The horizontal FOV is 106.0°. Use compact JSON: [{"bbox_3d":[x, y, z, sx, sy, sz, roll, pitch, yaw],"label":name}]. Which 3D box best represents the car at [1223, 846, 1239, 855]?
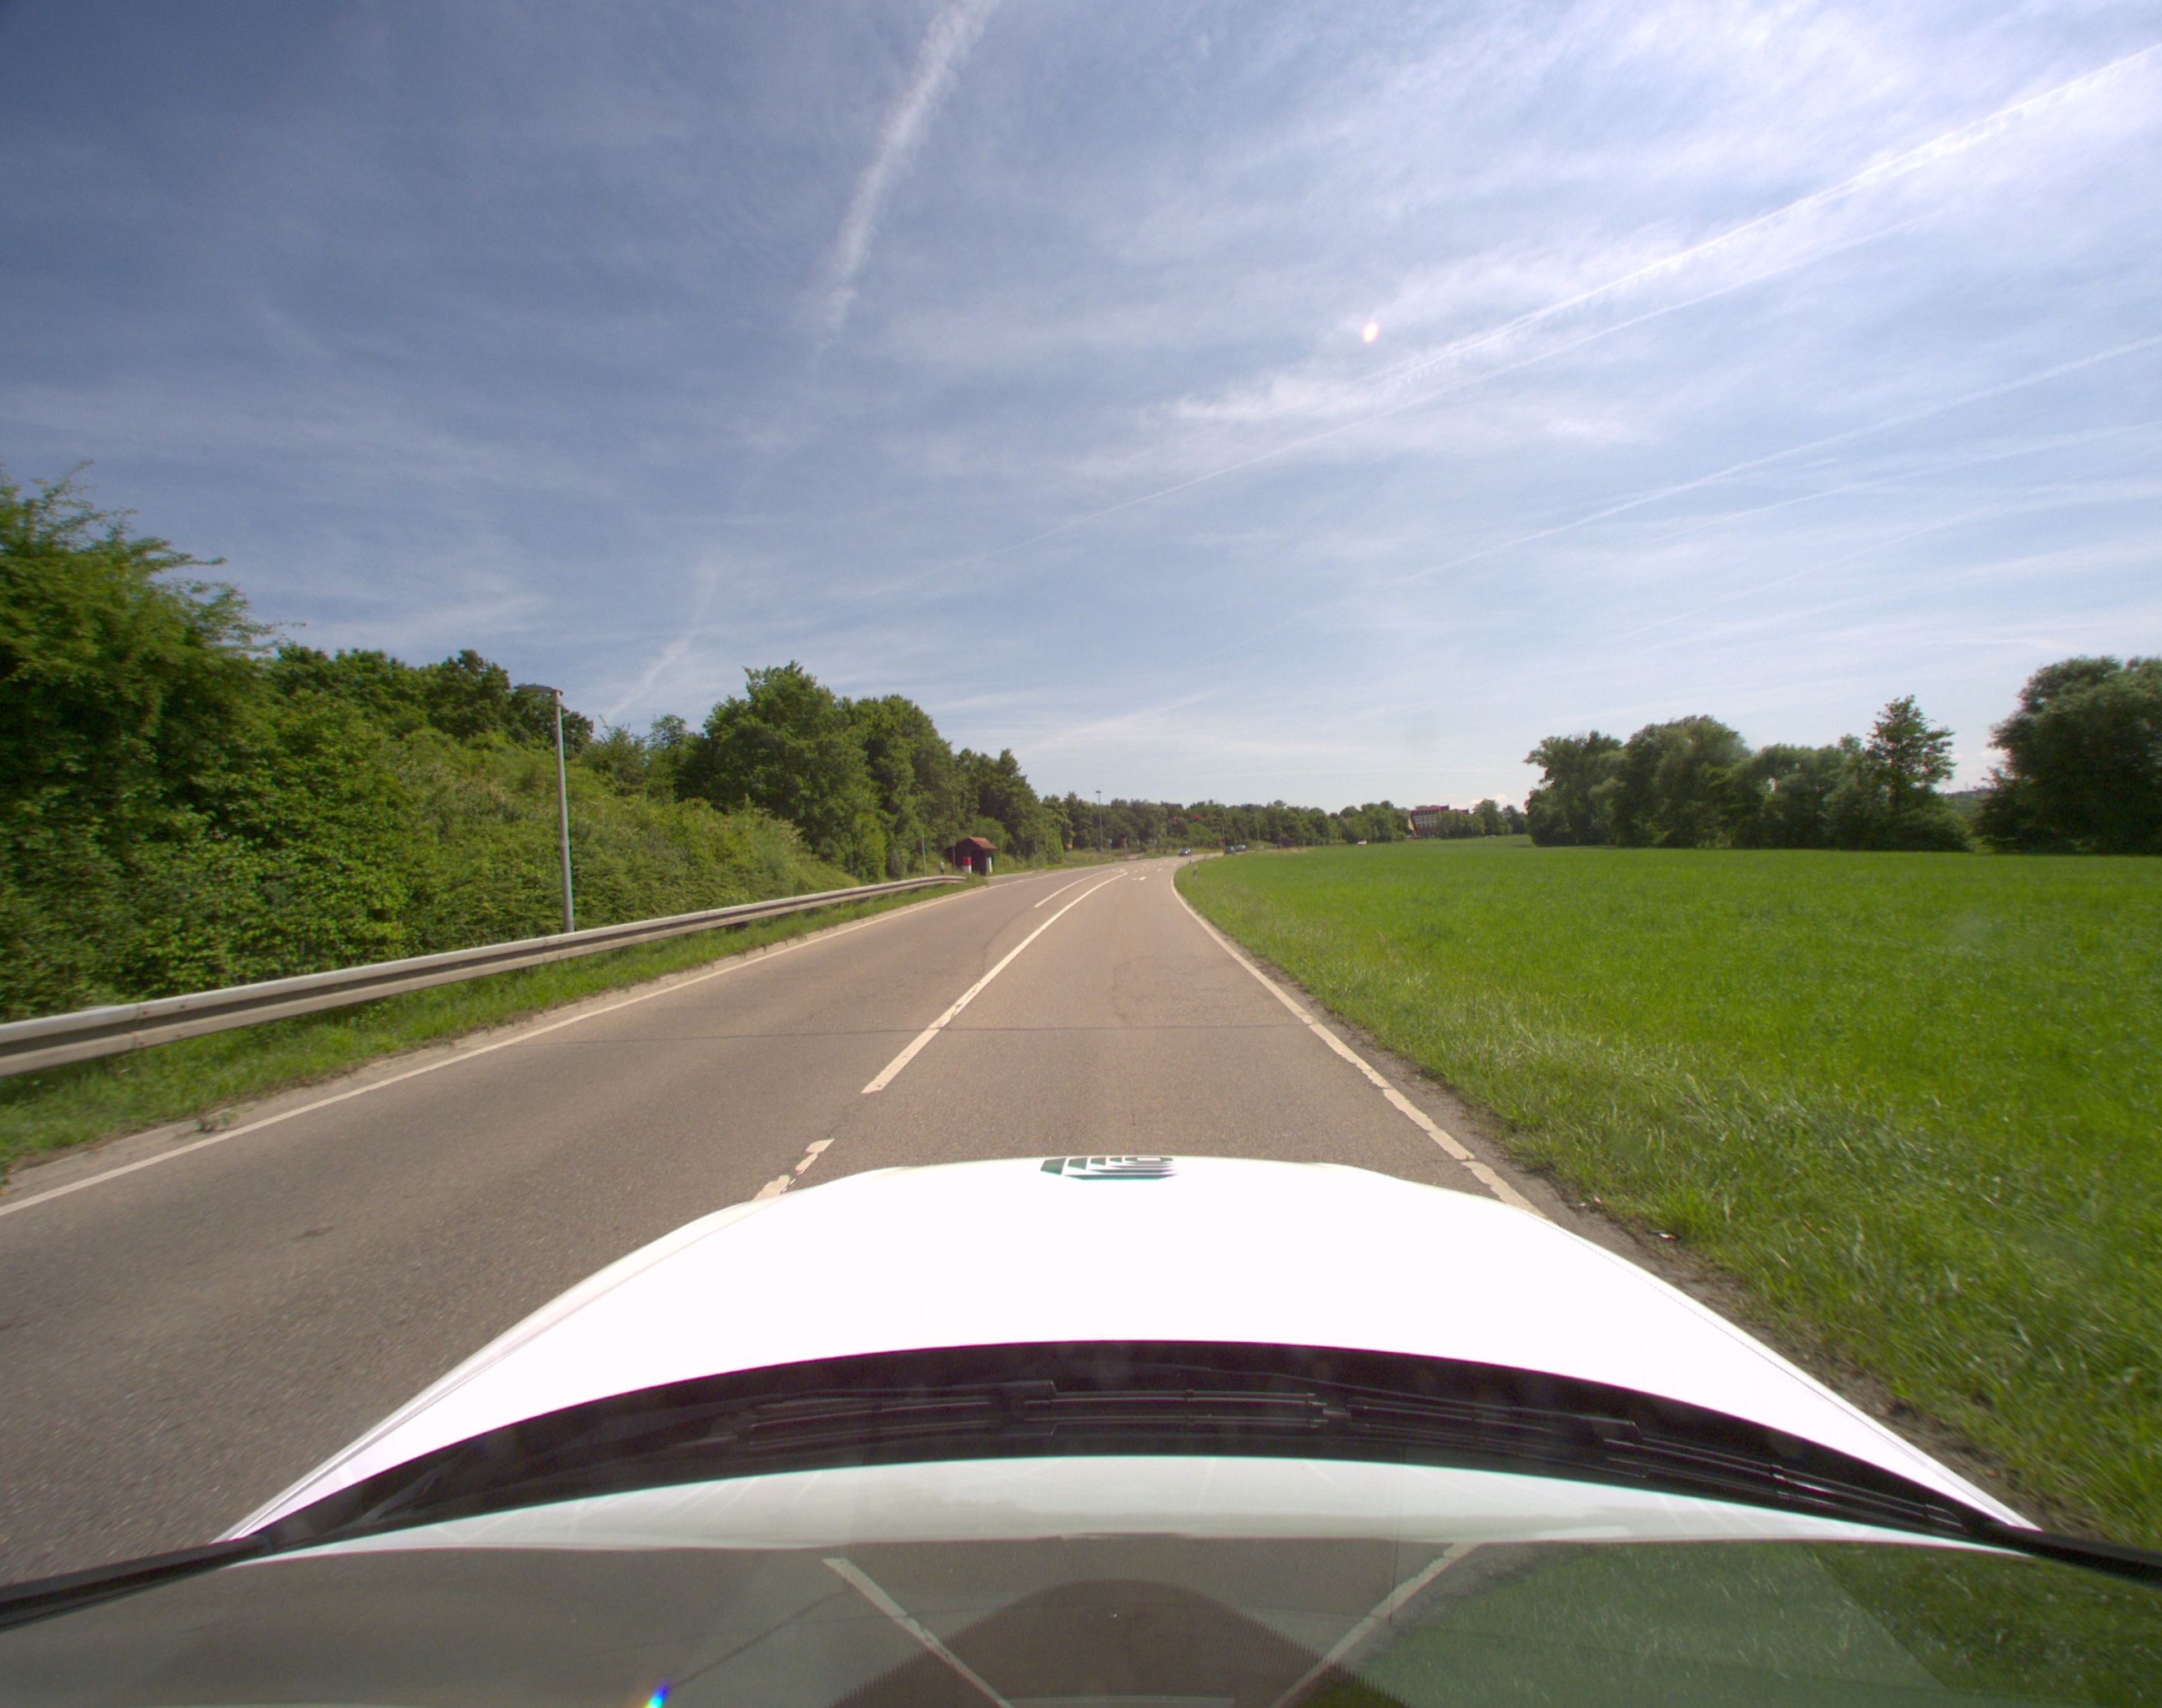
[{"bbox_3d":[28.571,-0.659,154.802,1.975,1.574,4.023,-2,0,26],"label":"car"}]

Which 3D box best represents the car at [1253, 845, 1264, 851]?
[{"bbox_3d":[45.784,-1.473,210.030,1.691,1.483,3.855,-2,0,27],"label":"car"}]

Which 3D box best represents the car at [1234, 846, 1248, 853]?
[{"bbox_3d":[37.912,-1.057,192.915,1.955,1.562,4.215,-1,0,30],"label":"car"}]

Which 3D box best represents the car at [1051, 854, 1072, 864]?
[{"bbox_3d":[-3.642,0.947,152.980,2.010,1.794,3.953,-1,0,-39],"label":"car"}]

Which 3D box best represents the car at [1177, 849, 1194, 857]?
[{"bbox_3d":[19.334,-0.243,150.596,1.774,1.474,4.336,-1,0,27],"label":"car"}]
